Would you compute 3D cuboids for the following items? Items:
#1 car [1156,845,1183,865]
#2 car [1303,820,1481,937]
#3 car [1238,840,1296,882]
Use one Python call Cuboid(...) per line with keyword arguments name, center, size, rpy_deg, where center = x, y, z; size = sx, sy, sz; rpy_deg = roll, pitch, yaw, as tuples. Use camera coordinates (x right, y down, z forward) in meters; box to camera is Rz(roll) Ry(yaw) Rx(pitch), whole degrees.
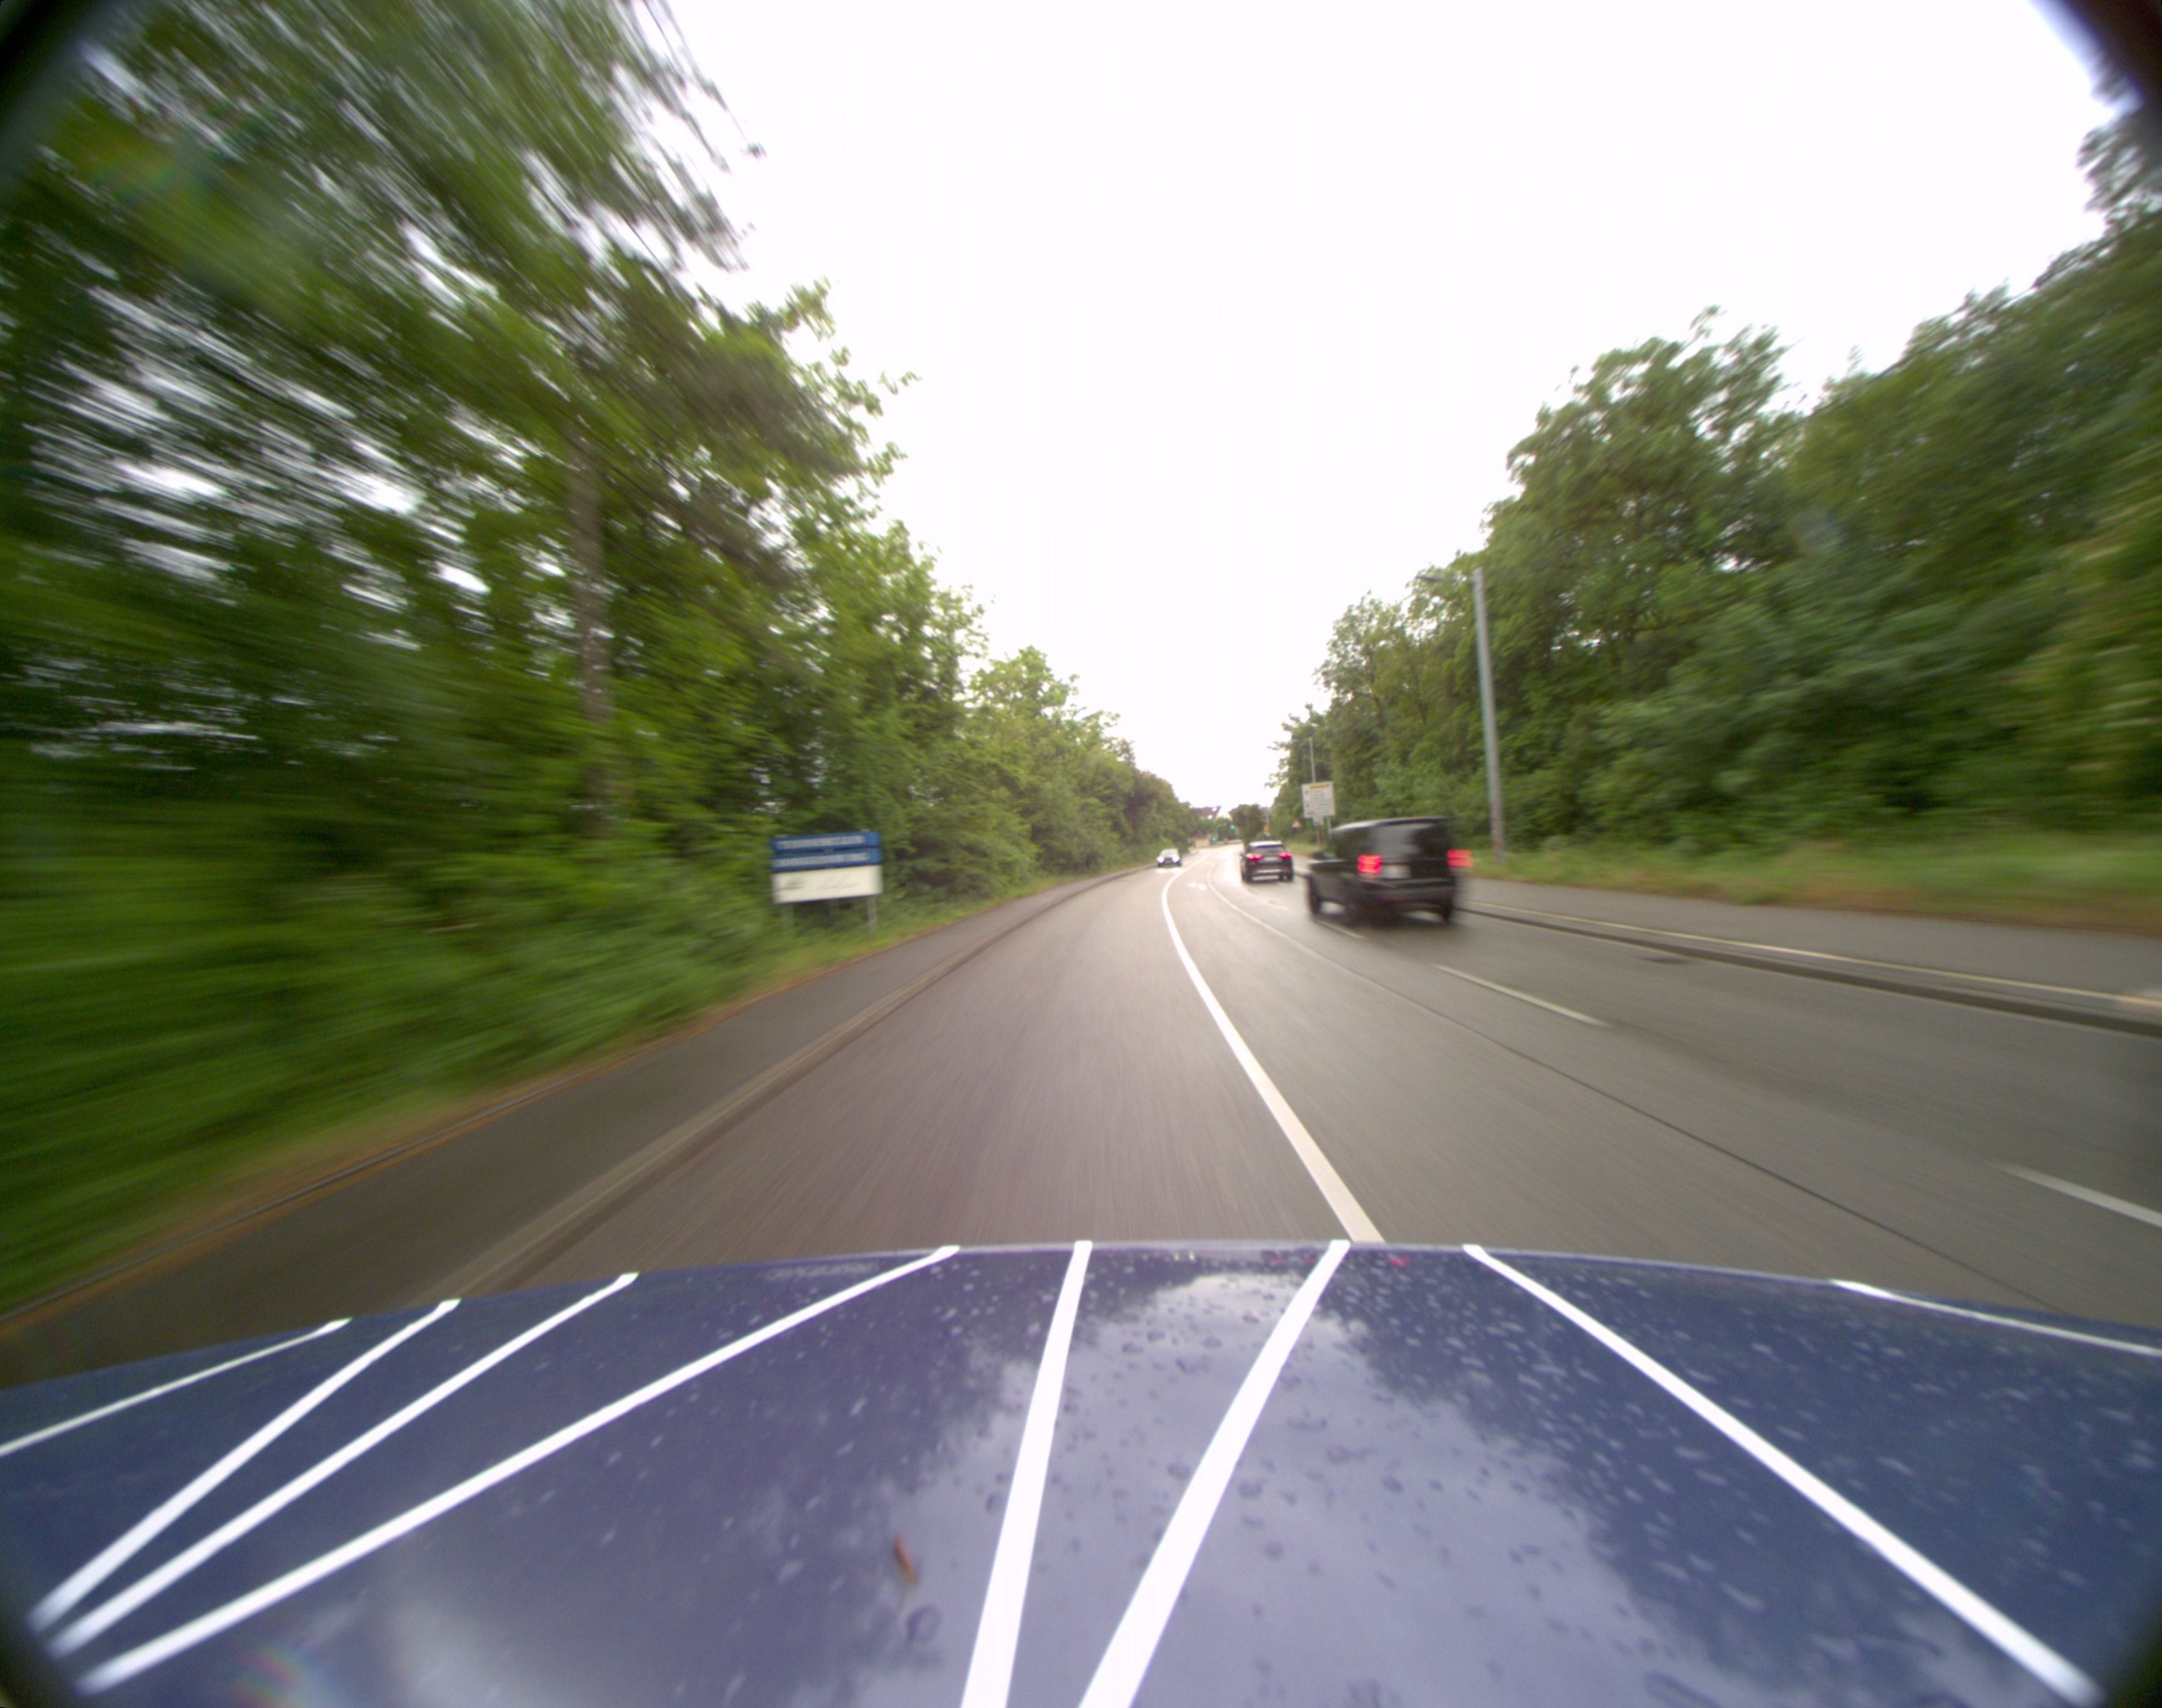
Cuboid(name="car", center=(7.154, 0.091, 61.173), size=(1.830, 1.511, 4.004), rpy_deg=(1, -1, 11))
Cuboid(name="car", center=(5.689, 0.333, 14.579), size=(1.831, 1.832, 4.711), rpy_deg=(-2, 2, 5))
Cuboid(name="car", center=(7.829, 0.257, 32.298), size=(1.812, 1.585, 4.520), rpy_deg=(-3, 0, 7))
